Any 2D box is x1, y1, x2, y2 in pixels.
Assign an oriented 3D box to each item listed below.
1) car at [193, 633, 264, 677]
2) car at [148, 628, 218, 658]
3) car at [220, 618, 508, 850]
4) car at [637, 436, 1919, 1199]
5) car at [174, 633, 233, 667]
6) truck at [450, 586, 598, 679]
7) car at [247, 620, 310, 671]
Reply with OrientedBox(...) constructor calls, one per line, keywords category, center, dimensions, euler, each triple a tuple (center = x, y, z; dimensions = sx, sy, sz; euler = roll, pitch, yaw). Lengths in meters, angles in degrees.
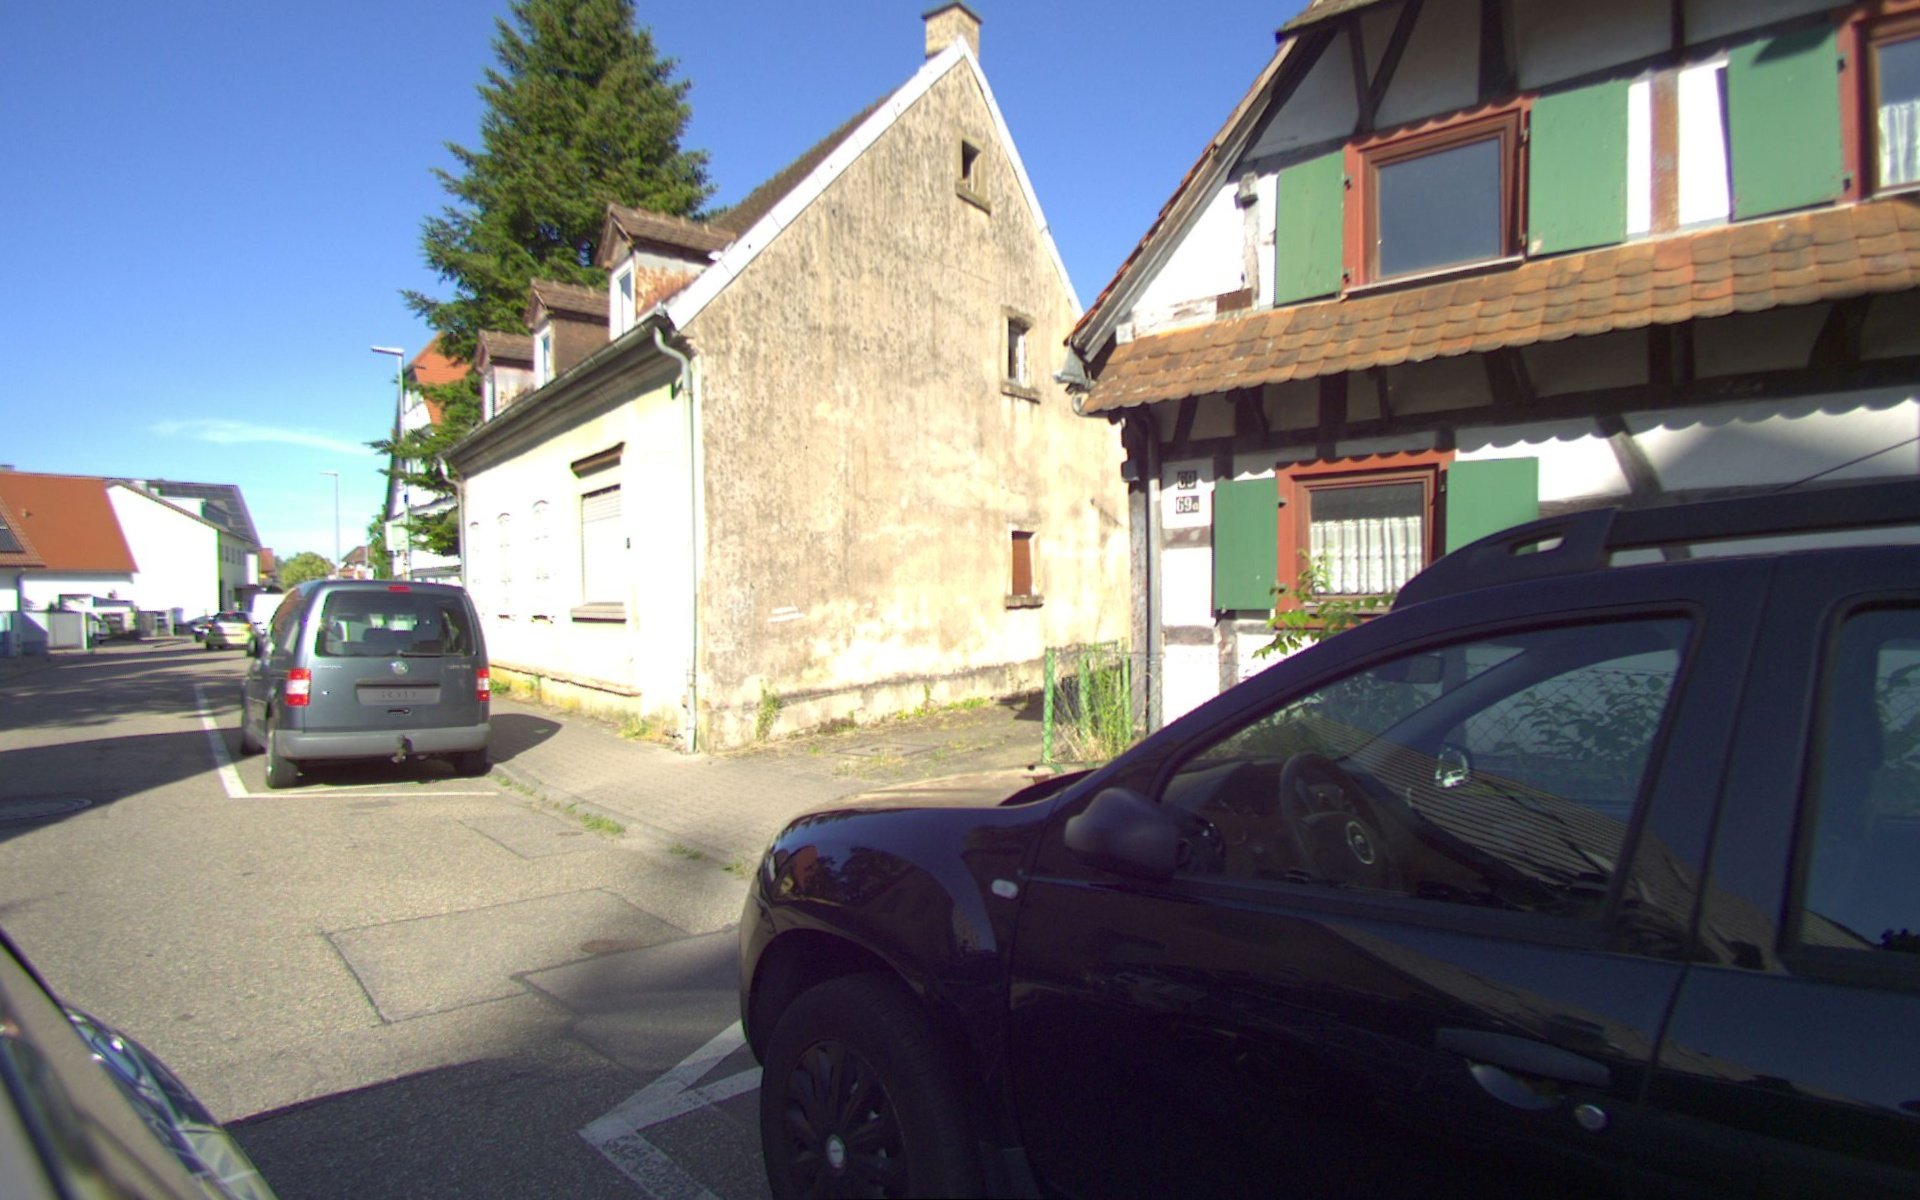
OrientedBox(category="car", center=(-29.699, 2.188, 41.184), dimensions=(1.862, 1.602, 4.012), euler=(0, -1, -29))
OrientedBox(category="car", center=(-55.985, 3.057, 73.018), dimensions=(3.934, 2.029, 1.846), euler=(-1, -1, -35))
OrientedBox(category="car", center=(-6.134, 1.121, 10.156), dimensions=(1.809, 1.803, 4.360), euler=(3, -3, -39))
OrientedBox(category="car", center=(1.374, 0.717, 1.703), dimensions=(4.354, 1.683, 1.811), euler=(0, -2, 45))
OrientedBox(category="car", center=(-39.956, 2.625, 53.528), dimensions=(1.778, 1.488, 4.357), euler=(-4, 1, -28))
OrientedBox(category="truck", center=(-10.201, 0.709, 23.435), dimensions=(1.968, 1.862, 4.761), euler=(-3, 0, -38))
OrientedBox(category="car", center=(-32.180, 2.084, 47.903), dimensions=(2.026, 2.263, 4.874), euler=(0, -1, -29))
